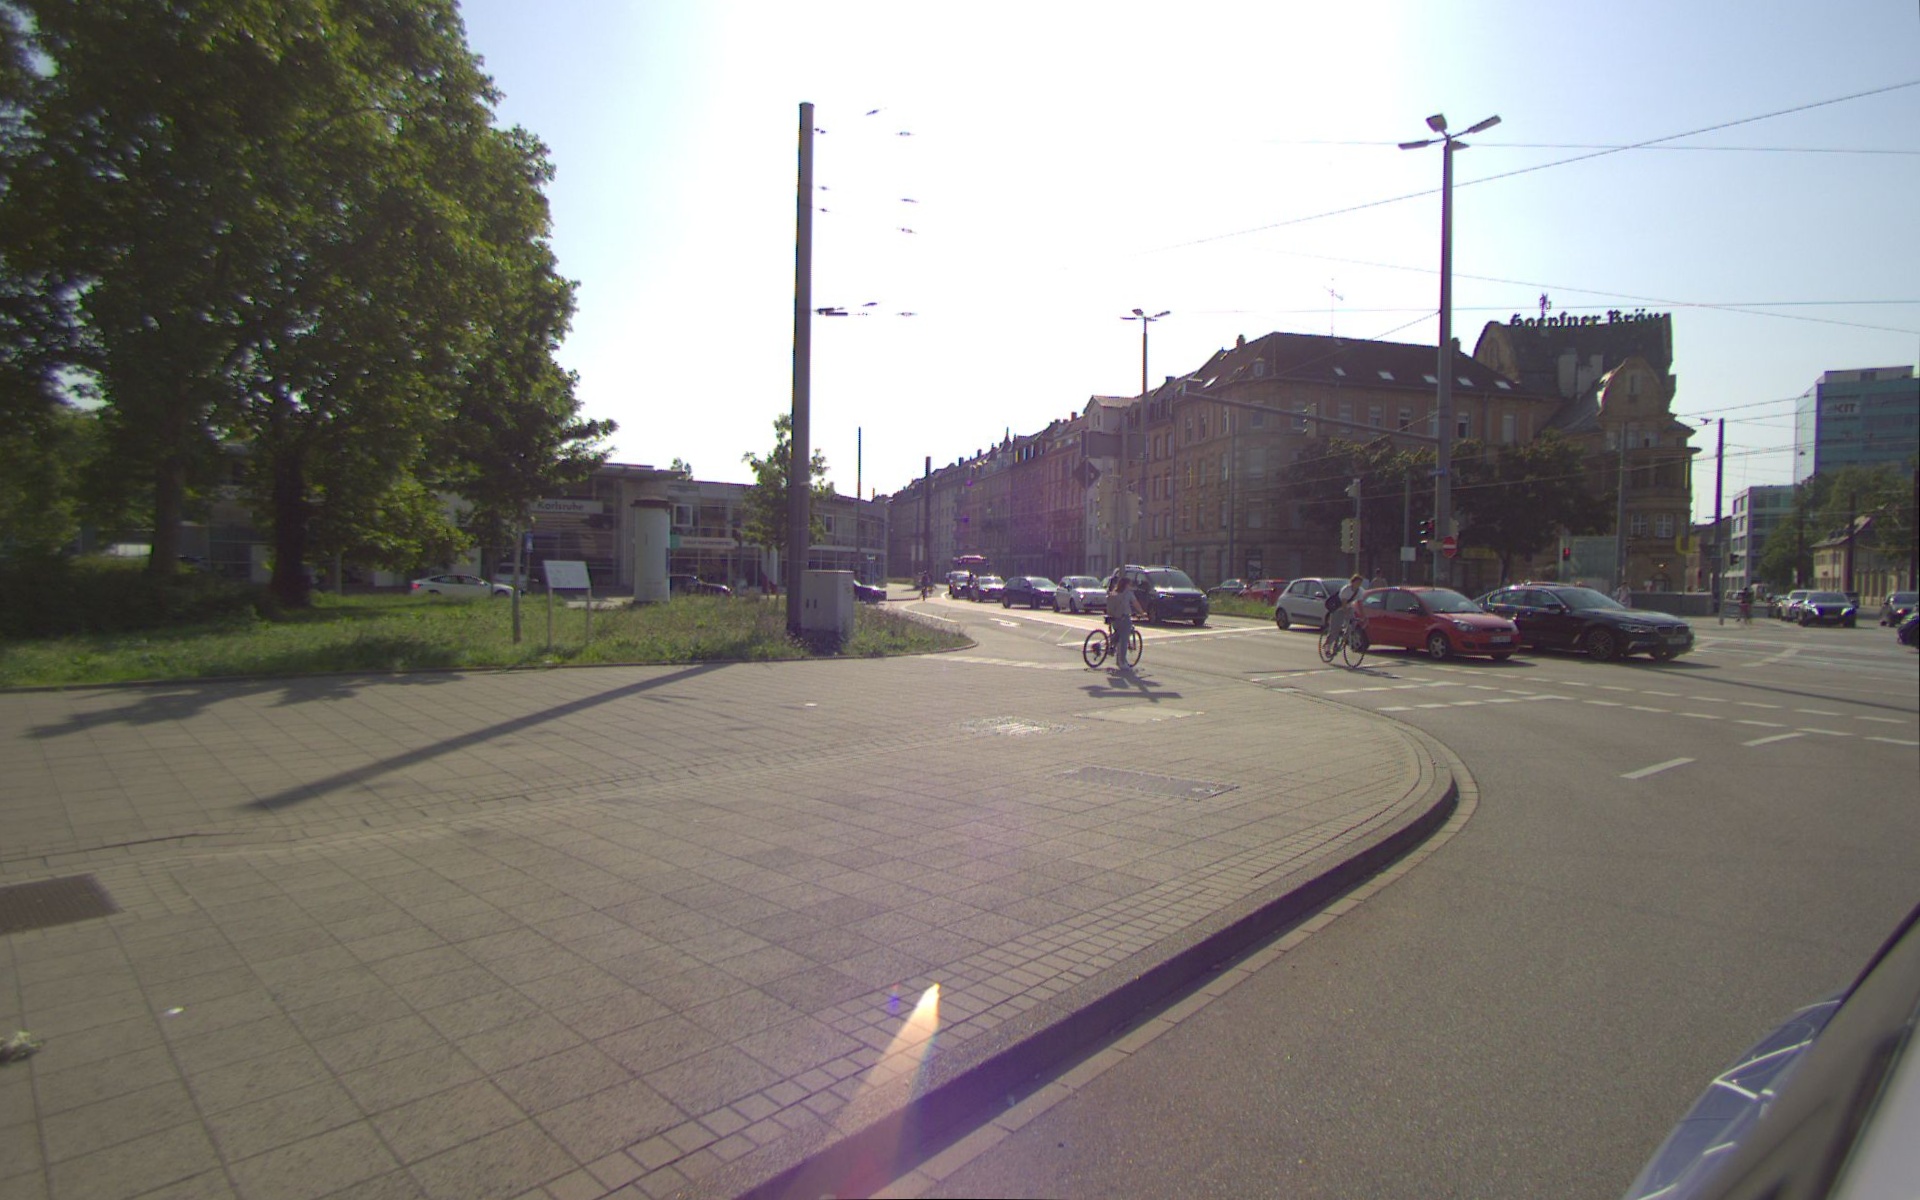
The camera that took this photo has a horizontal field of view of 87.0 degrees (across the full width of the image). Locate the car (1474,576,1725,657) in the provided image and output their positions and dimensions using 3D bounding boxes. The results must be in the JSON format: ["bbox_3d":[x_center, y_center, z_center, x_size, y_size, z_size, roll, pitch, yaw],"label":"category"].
[{"bbox_3d":[13.125,0.268,21.148,1.765,1.469,4.361,1,2,-15],"label":"car"}]

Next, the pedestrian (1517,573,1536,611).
[{"bbox_3d":[26.202,-0.363,46.808,0.495,1.748,0.625,1,1,-3],"label":"pedestrian"}]

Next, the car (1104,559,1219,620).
[{"bbox_3d":[6.517,-0.390,33.361,1.765,1.850,4.784,1,2,-15],"label":"car"}]

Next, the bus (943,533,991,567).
[{"bbox_3d":[0.521,-4.706,97.314,2.839,3.021,11.518,1,2,-8],"label":"bus"}]

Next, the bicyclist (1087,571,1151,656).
[{"bbox_3d":[2.785,0.234,17.717,0.803,1.444,0.732,1,0,-23],"label":"bicyclist"}]

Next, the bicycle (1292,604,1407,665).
[{"bbox_3d":[7.395,0.631,19.347,0.519,1.001,2.200,-1,2,-30],"label":"bicycle"}]

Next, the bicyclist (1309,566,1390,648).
[{"bbox_3d":[7.419,0.121,19.292,1.066,1.493,0.973,0,1,-31],"label":"bicyclist"}]

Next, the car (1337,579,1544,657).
[{"bbox_3d":[9.990,0.315,21.406,1.765,1.433,4.009,1,2,-15],"label":"car"}]

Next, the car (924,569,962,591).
[{"bbox_3d":[-1.217,-1.407,71.147,1.765,1.433,4.009,1,2,-15],"label":"car"}]

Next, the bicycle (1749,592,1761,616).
[{"bbox_3d":[38.248,0.194,48.677,0.399,1.103,1.902,2,2,38],"label":"bicycle"}]

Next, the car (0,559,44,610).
[{"bbox_3d":[-27.917,-0.447,27.822,1.993,1.393,3.938,2,2,43],"label":"car"}]

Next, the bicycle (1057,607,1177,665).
[{"bbox_3d":[2.753,0.634,17.683,2.032,0.905,0.569,3,0,-23],"label":"bicycle"}]

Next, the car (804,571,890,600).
[{"bbox_3d":[-5.811,-0.765,52.603,4.312,1.387,2.002,1,2,-3],"label":"car"}]

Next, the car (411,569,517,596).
[{"bbox_3d":[-22.967,-0.807,46.973,4.308,1.180,2.004,0,2,-27],"label":"car"}]

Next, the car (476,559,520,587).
[{"bbox_3d":[-26.021,-1.546,57.103,1.958,1.480,4.334,1,1,-21],"label":"car"}]

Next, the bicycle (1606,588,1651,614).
[{"bbox_3d":[27.611,0.039,41.819,1.514,1.037,0.429,1,1,32],"label":"bicycle"}]

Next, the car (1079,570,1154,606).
[{"bbox_3d":[6.790,-0.553,44.269,1.765,1.433,4.009,1,2,-15],"label":"car"}]

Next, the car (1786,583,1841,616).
[{"bbox_3d":[45.504,-0.052,54.021,1.916,1.656,3.949,2,2,36],"label":"car"}]

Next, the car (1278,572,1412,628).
[{"bbox_3d":[10.844,-0.043,28.774,1.765,1.453,3.565,1,2,-15],"label":"car"}]

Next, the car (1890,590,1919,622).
[{"bbox_3d":[43.847,0.272,46.092,1.683,1.343,3.949,2,2,36],"label":"car"}]

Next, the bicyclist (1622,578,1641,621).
[{"bbox_3d":[27.704,-0.025,41.760,0.582,1.752,0.589,1,1,31],"label":"bicyclist"}]

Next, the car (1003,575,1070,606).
[{"bbox_3d":[3.443,-0.448,46.139,1.765,1.298,3.640,1,2,-18],"label":"car"}]

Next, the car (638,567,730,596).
[{"bbox_3d":[-13.870,-0.942,50.850,4.305,1.387,2.005,0,2,-21],"label":"car"}]

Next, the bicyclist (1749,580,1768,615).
[{"bbox_3d":[38.323,-0.140,48.552,0.659,1.657,0.906,2,1,38],"label":"bicyclist"}]

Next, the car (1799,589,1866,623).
[{"bbox_3d":[39.327,0.229,45.707,1.916,1.393,3.949,2,2,36],"label":"car"}]

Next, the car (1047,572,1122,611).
[{"bbox_3d":[4.977,-0.391,40.902,1.765,1.459,3.640,1,2,-15],"label":"car"}]

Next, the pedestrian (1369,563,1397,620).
[{"bbox_3d":[13.222,-0.264,31.654,0.515,1.752,0.599,1,1,-20],"label":"pedestrian"}]

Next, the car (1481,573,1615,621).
[{"bbox_3d":[22.625,-0.157,39.146,1.776,1.644,4.300,2,1,-19],"label":"car"}]

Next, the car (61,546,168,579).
[{"bbox_3d":[-41.301,-1.812,49.572,1.961,1.480,4.064,1,1,-2],"label":"car"}]

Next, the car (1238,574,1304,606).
[{"bbox_3d":[15.676,-0.531,51.177,1.642,1.465,3.788,1,1,-10],"label":"car"}]

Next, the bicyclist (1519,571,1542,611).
[{"bbox_3d":[25.411,-0.400,45.095,0.575,1.738,0.649,1,1,-21],"label":"bicyclist"}]

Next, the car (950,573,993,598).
[{"bbox_3d":[0.696,-0.941,63.949,1.765,1.459,3.640,1,2,-15],"label":"car"}]

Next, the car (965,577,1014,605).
[{"bbox_3d":[1.586,-0.511,56.329,1.765,1.459,3.640,1,2,-15],"label":"car"}]
